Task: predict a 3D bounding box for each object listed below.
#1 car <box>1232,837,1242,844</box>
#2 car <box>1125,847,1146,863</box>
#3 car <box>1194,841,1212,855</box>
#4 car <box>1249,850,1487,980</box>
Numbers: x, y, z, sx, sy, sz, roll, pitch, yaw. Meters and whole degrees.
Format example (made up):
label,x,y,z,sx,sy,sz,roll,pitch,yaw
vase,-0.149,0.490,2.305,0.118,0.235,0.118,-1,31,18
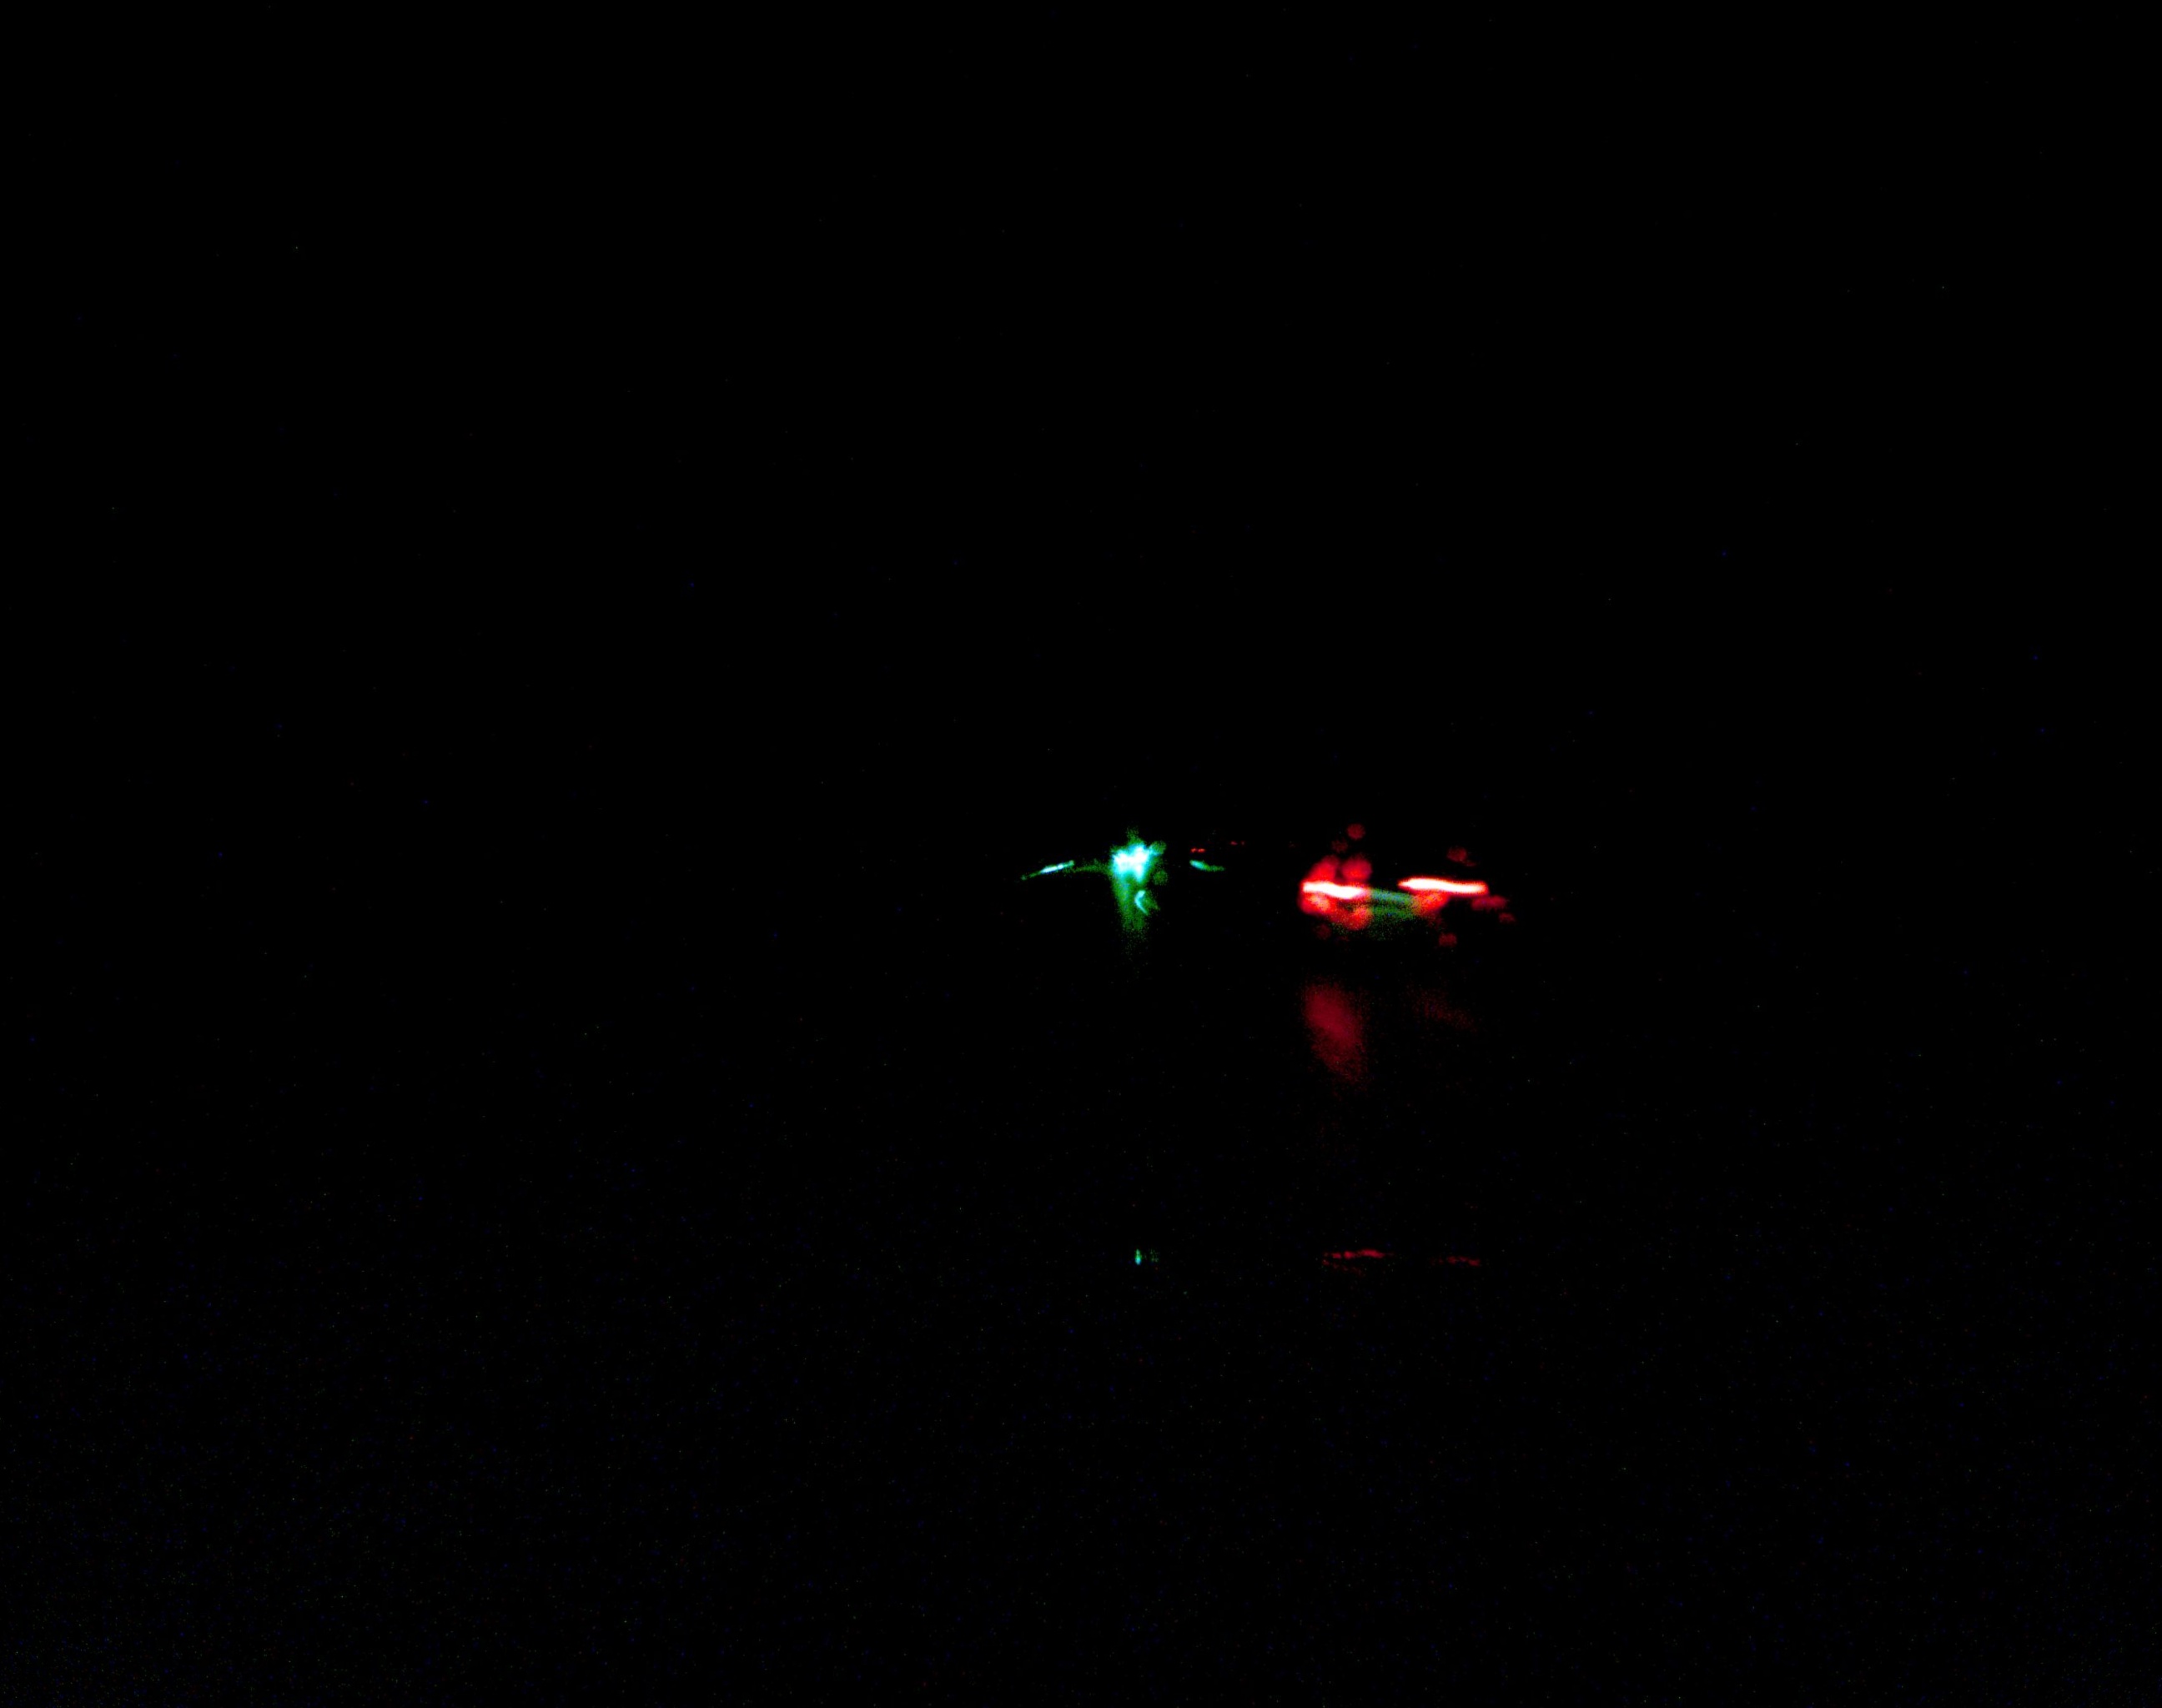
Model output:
label,x,y,z,sx,sy,sz,roll,pitch,yaw
car,41.199,-3.620,200.380,1.996,1.740,4.263,-2,1,20
car,5.575,0.112,77.446,1.806,1.452,4.278,-2,1,9
car,17.808,-0.940,111.028,1.996,1.915,4.004,-2,1,18
car,3.844,0.719,10.975,1.998,1.463,3.836,-2,1,1
